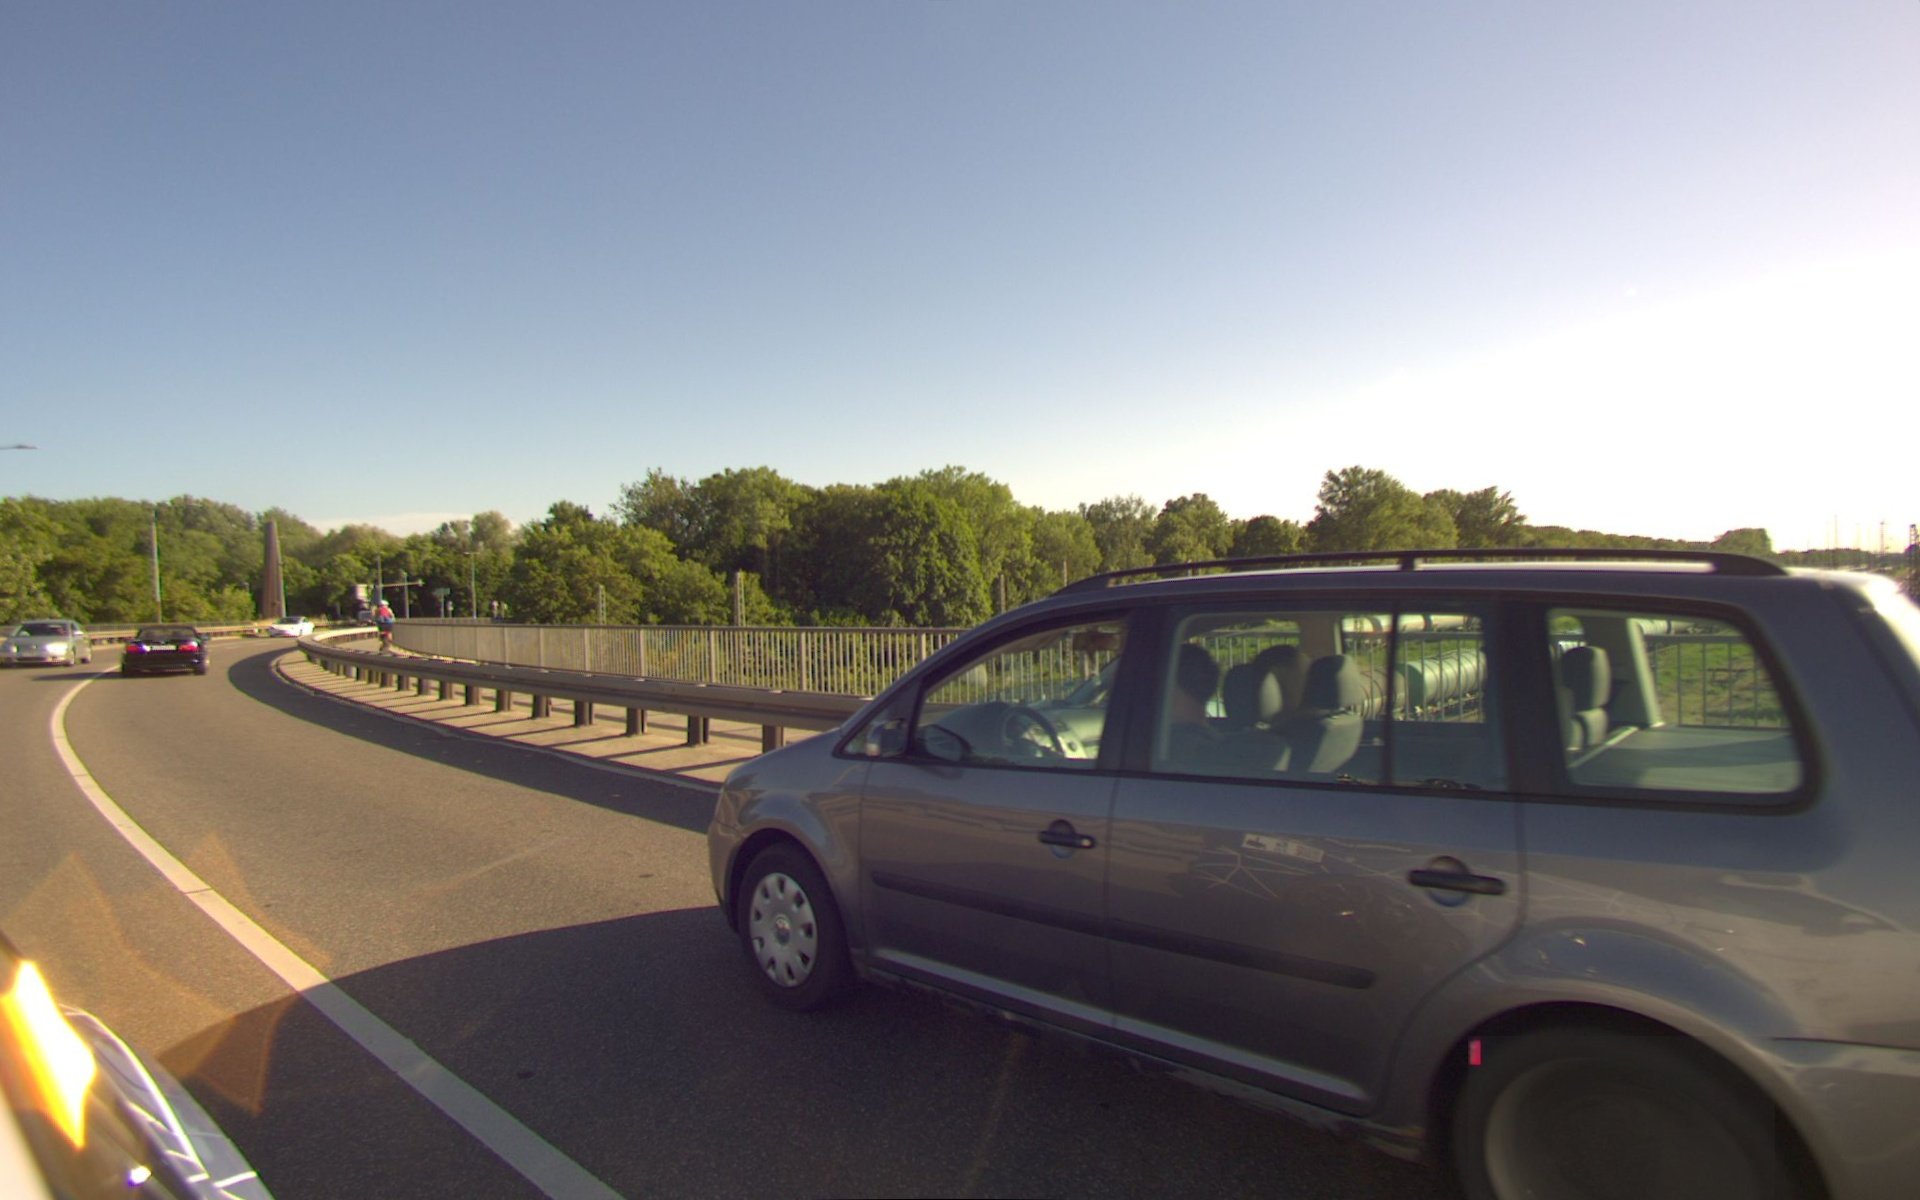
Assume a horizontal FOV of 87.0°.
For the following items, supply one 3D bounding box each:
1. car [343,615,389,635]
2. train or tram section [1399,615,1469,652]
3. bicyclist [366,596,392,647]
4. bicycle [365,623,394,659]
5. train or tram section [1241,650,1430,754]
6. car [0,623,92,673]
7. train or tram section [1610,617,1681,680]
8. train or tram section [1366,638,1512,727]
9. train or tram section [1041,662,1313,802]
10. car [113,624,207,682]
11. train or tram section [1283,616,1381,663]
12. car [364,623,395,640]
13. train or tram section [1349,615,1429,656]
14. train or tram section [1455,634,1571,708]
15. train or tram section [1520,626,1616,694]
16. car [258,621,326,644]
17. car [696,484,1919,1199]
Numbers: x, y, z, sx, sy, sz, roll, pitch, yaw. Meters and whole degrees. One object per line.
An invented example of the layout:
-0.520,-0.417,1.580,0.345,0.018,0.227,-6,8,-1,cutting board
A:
-81.120,3.376,138.102,5.655,2.518,2.104,-3,-2,17,car
70.628,4.793,150.369,4.049,5.125,17.613,-1,-1,43,train or tram section
-18.198,0.669,31.714,0.645,1.601,0.770,0,-1,-35,bicyclist
-18.125,1.249,31.570,0.645,1.073,1.895,0,-1,-34,bicycle
21.857,5.480,57.873,3.907,4.626,16.075,-1,-1,44,train or tram section
-28.676,1.442,31.655,1.736,1.447,4.342,0,-1,-33,car
79.125,5.365,116.609,3.907,6.661,16.265,-1,-1,44,train or tram section
33.200,5.369,69.509,3.907,5.054,16.425,-1,-1,44,train or tram section
10.495,5.507,46.190,3.907,4.626,16.525,-1,-1,44,train or tram section
-21.135,1.339,26.682,1.723,1.365,4.188,0,-1,-41,car
45.762,4.652,123.908,4.049,5.125,19.077,-1,-1,43,train or tram section
-56.721,3.084,98.896,1.890,1.630,3.754,0,-1,-18,car
58.438,4.723,137.393,4.049,5.125,17.928,-1,-1,43,train or tram section
44.580,5.427,81.169,3.907,5.054,16.129,-1,-1,44,train or tram section
55.918,5.243,92.736,3.907,5.561,16.265,-1,-1,44,train or tram section
-46.657,2.243,70.780,1.967,1.484,4.129,-1,-1,1,car
1.083,0.653,3.370,4.100,1.635,1.829,-1,-1,41,car
